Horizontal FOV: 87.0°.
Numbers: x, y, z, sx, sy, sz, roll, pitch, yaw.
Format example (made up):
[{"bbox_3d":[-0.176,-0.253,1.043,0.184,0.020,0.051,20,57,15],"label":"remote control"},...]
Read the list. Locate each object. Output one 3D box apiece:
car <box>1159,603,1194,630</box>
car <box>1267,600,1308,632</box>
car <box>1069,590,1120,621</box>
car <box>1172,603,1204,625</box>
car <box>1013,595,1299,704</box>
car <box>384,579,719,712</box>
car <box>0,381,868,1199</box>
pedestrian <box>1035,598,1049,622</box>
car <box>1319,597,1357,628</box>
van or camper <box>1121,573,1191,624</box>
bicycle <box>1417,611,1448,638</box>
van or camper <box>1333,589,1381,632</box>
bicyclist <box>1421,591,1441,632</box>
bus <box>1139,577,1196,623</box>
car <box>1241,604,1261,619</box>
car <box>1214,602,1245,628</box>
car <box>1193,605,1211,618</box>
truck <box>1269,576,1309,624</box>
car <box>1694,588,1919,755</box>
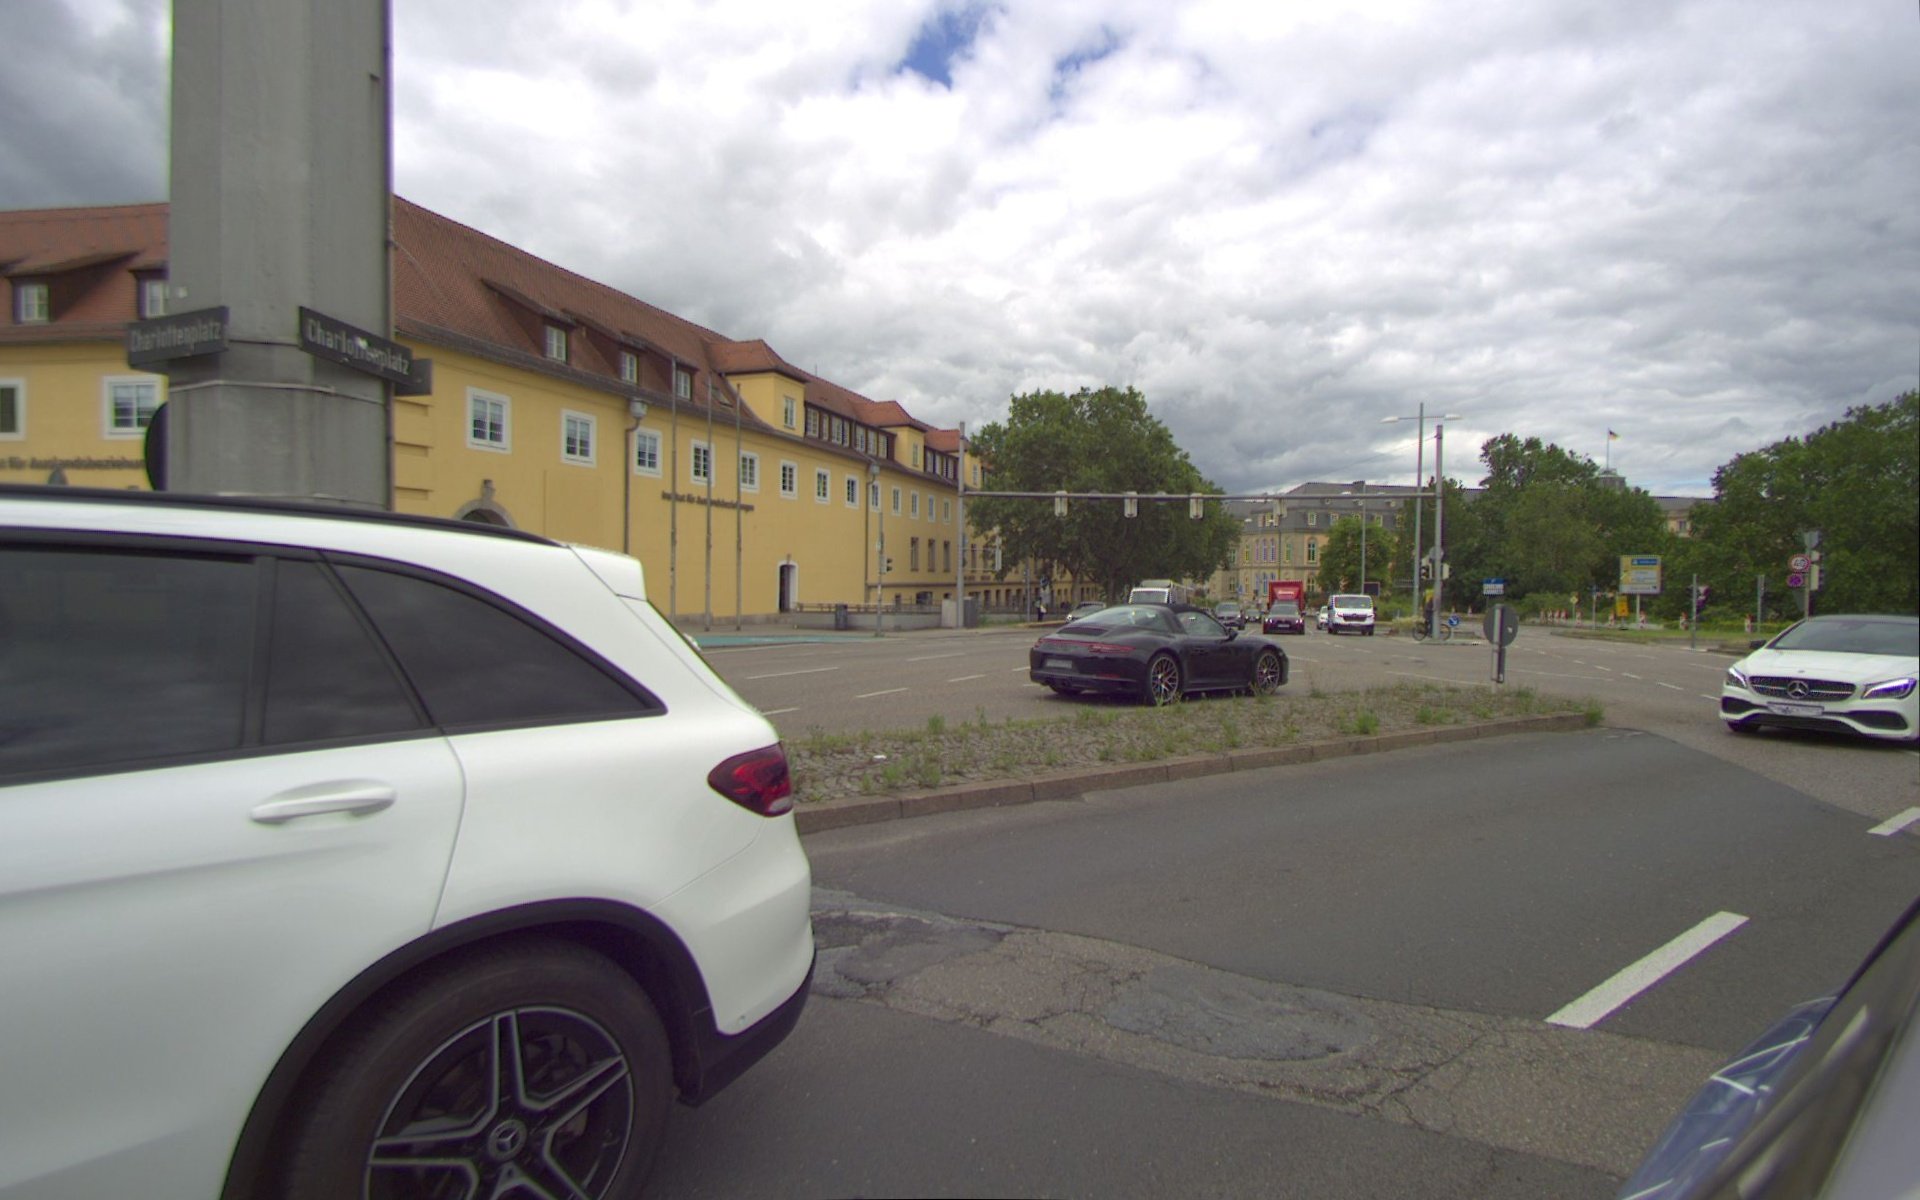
[{"bbox_3d":[11.997,0.901,55.900,1.594,1.372,3.466,1,0,17],"label":"car"},{"bbox_3d":[15.735,0.747,48.807,1.717,1.417,3.692,1,1,16],"label":"car"},{"bbox_3d":[6.660,0.255,49.934,1.805,1.426,3.977,1,1,18],"label":"car"},{"bbox_3d":[14.364,0.851,63.686,1.602,1.251,3.219,1,1,19],"label":"car"},{"bbox_3d":[2.764,0.601,13.848,3.984,1.280,1.675,1,-1,-39],"label":"car"},{"bbox_3d":[-5.089,0.509,12.778,3.580,1.436,1.728,1,0,-38],"label":"car"},{"bbox_3d":[-2.439,0.497,1.711,4.256,1.667,1.806,1,1,-39],"label":"car"},{"bbox_3d":[4.797,0.586,59.375,0.672,1.397,0.576,1,0,16],"label":"pedestrian"},{"bbox_3d":[22.854,0.734,61.272,1.974,1.776,3.937,1,0,18],"label":"car"},{"bbox_3d":[9.769,-0.078,50.019,2.346,2.291,6.244,1,1,21],"label":"van or camper"},{"bbox_3d":[19.583,0.992,41.917,1.699,1.086,0.504,1,0,-42],"label":"bicycle"},{"bbox_3d":[19.206,0.461,49.127,1.842,1.940,4.686,1,0,18],"label":"van or camper"},{"bbox_3d":[19.451,0.480,41.797,0.709,1.660,0.504,1,0,-41],"label":"bicyclist"},{"bbox_3d":[16.343,-0.026,79.020,3.387,3.244,12.997,1,1,16],"label":"bus"},{"bbox_3d":[28.474,1.085,99.090,1.790,1.395,3.619,1,1,17],"label":"car"},{"bbox_3d":[15.941,0.863,59.728,1.584,1.395,3.978,1,1,17],"label":"car"},{"bbox_3d":[27.140,1.245,113.421,1.790,1.395,3.619,1,1,17],"label":"car"},{"bbox_3d":[25.868,-0.040,79.767,2.755,3.534,8.302,1,0,17],"label":"truck"},{"bbox_3d":[10.693,0.696,11.839,4.561,1.589,1.873,1,1,-33],"label":"car"}]
